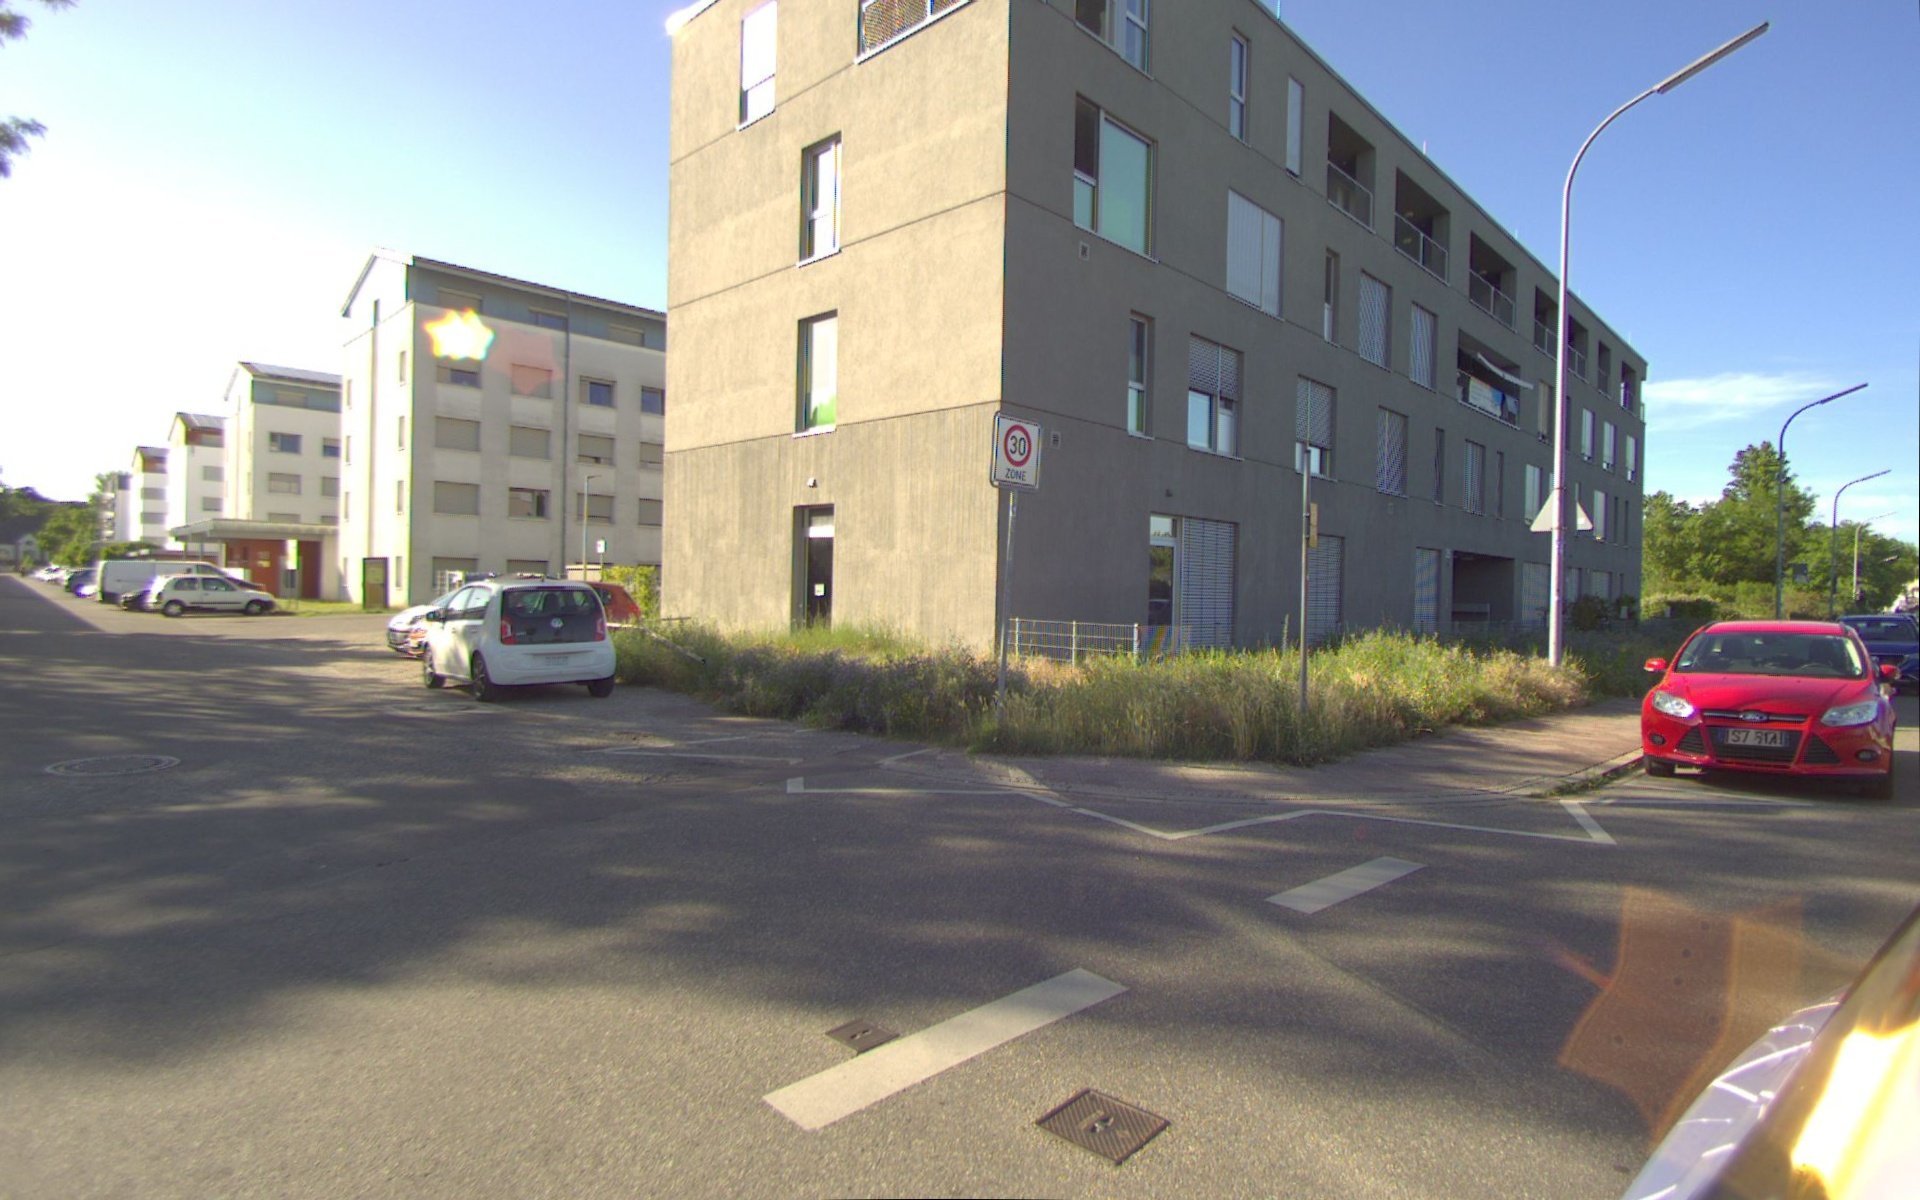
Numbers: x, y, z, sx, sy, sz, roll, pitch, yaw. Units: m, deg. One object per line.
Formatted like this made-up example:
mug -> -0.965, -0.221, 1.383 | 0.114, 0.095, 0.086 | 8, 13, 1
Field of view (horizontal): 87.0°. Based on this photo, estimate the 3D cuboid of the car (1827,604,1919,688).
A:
car -> 19.820, 0.916, 21.585 | 1.816, 1.620, 4.555 | -1, -1, 43

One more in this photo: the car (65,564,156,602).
car -> -48.781, -0.974, 58.168 | 3.930, 2.039, 1.997 | 1, 1, -41

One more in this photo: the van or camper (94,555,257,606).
van or camper -> -32.667, -0.777, 42.264 | 5.207, 1.982, 1.996 | 1, 1, -43

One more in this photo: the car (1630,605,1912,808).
car -> 8.129, 0.834, 9.979 | 1.819, 1.518, 4.382 | 1, 0, 43

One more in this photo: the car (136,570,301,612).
car -> -26.574, -0.304, 36.372 | 1.994, 1.366, 4.528 | 2, 1, 44

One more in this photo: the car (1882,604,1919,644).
car -> 40.385, 0.977, 42.833 | 4.723, 1.587, 1.746 | 0, -1, -44

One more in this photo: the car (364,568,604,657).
car -> -9.286, 0.217, 19.937 | 1.694, 1.539, 3.935 | 3, 2, 45

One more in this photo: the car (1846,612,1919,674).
car -> 23.837, 1.036, 25.695 | 1.745, 1.447, 4.511 | -1, -1, 45

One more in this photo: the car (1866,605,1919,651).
car -> 34.050, 0.979, 36.597 | 1.707, 1.545, 4.087 | 0, 0, 45

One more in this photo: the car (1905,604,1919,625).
car -> 74.999, 1.126, 78.845 | 1.869, 1.545, 4.087 | 1, 1, 45

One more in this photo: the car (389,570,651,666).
car -> -7.744, 0.287, 18.066 | 1.694, 1.488, 3.935 | 3, 2, 45

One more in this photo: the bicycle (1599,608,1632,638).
bicycle -> 23.863, 0.818, 36.808 | 1.810, 1.074, 0.553 | 1, 0, -42

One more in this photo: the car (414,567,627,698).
car -> -5.875, 0.334, 13.345 | 1.684, 1.476, 3.333 | 1, 1, -40

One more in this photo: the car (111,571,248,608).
car -> -30.454, -0.400, 39.551 | 1.758, 1.366, 4.022 | 2, 1, 44
